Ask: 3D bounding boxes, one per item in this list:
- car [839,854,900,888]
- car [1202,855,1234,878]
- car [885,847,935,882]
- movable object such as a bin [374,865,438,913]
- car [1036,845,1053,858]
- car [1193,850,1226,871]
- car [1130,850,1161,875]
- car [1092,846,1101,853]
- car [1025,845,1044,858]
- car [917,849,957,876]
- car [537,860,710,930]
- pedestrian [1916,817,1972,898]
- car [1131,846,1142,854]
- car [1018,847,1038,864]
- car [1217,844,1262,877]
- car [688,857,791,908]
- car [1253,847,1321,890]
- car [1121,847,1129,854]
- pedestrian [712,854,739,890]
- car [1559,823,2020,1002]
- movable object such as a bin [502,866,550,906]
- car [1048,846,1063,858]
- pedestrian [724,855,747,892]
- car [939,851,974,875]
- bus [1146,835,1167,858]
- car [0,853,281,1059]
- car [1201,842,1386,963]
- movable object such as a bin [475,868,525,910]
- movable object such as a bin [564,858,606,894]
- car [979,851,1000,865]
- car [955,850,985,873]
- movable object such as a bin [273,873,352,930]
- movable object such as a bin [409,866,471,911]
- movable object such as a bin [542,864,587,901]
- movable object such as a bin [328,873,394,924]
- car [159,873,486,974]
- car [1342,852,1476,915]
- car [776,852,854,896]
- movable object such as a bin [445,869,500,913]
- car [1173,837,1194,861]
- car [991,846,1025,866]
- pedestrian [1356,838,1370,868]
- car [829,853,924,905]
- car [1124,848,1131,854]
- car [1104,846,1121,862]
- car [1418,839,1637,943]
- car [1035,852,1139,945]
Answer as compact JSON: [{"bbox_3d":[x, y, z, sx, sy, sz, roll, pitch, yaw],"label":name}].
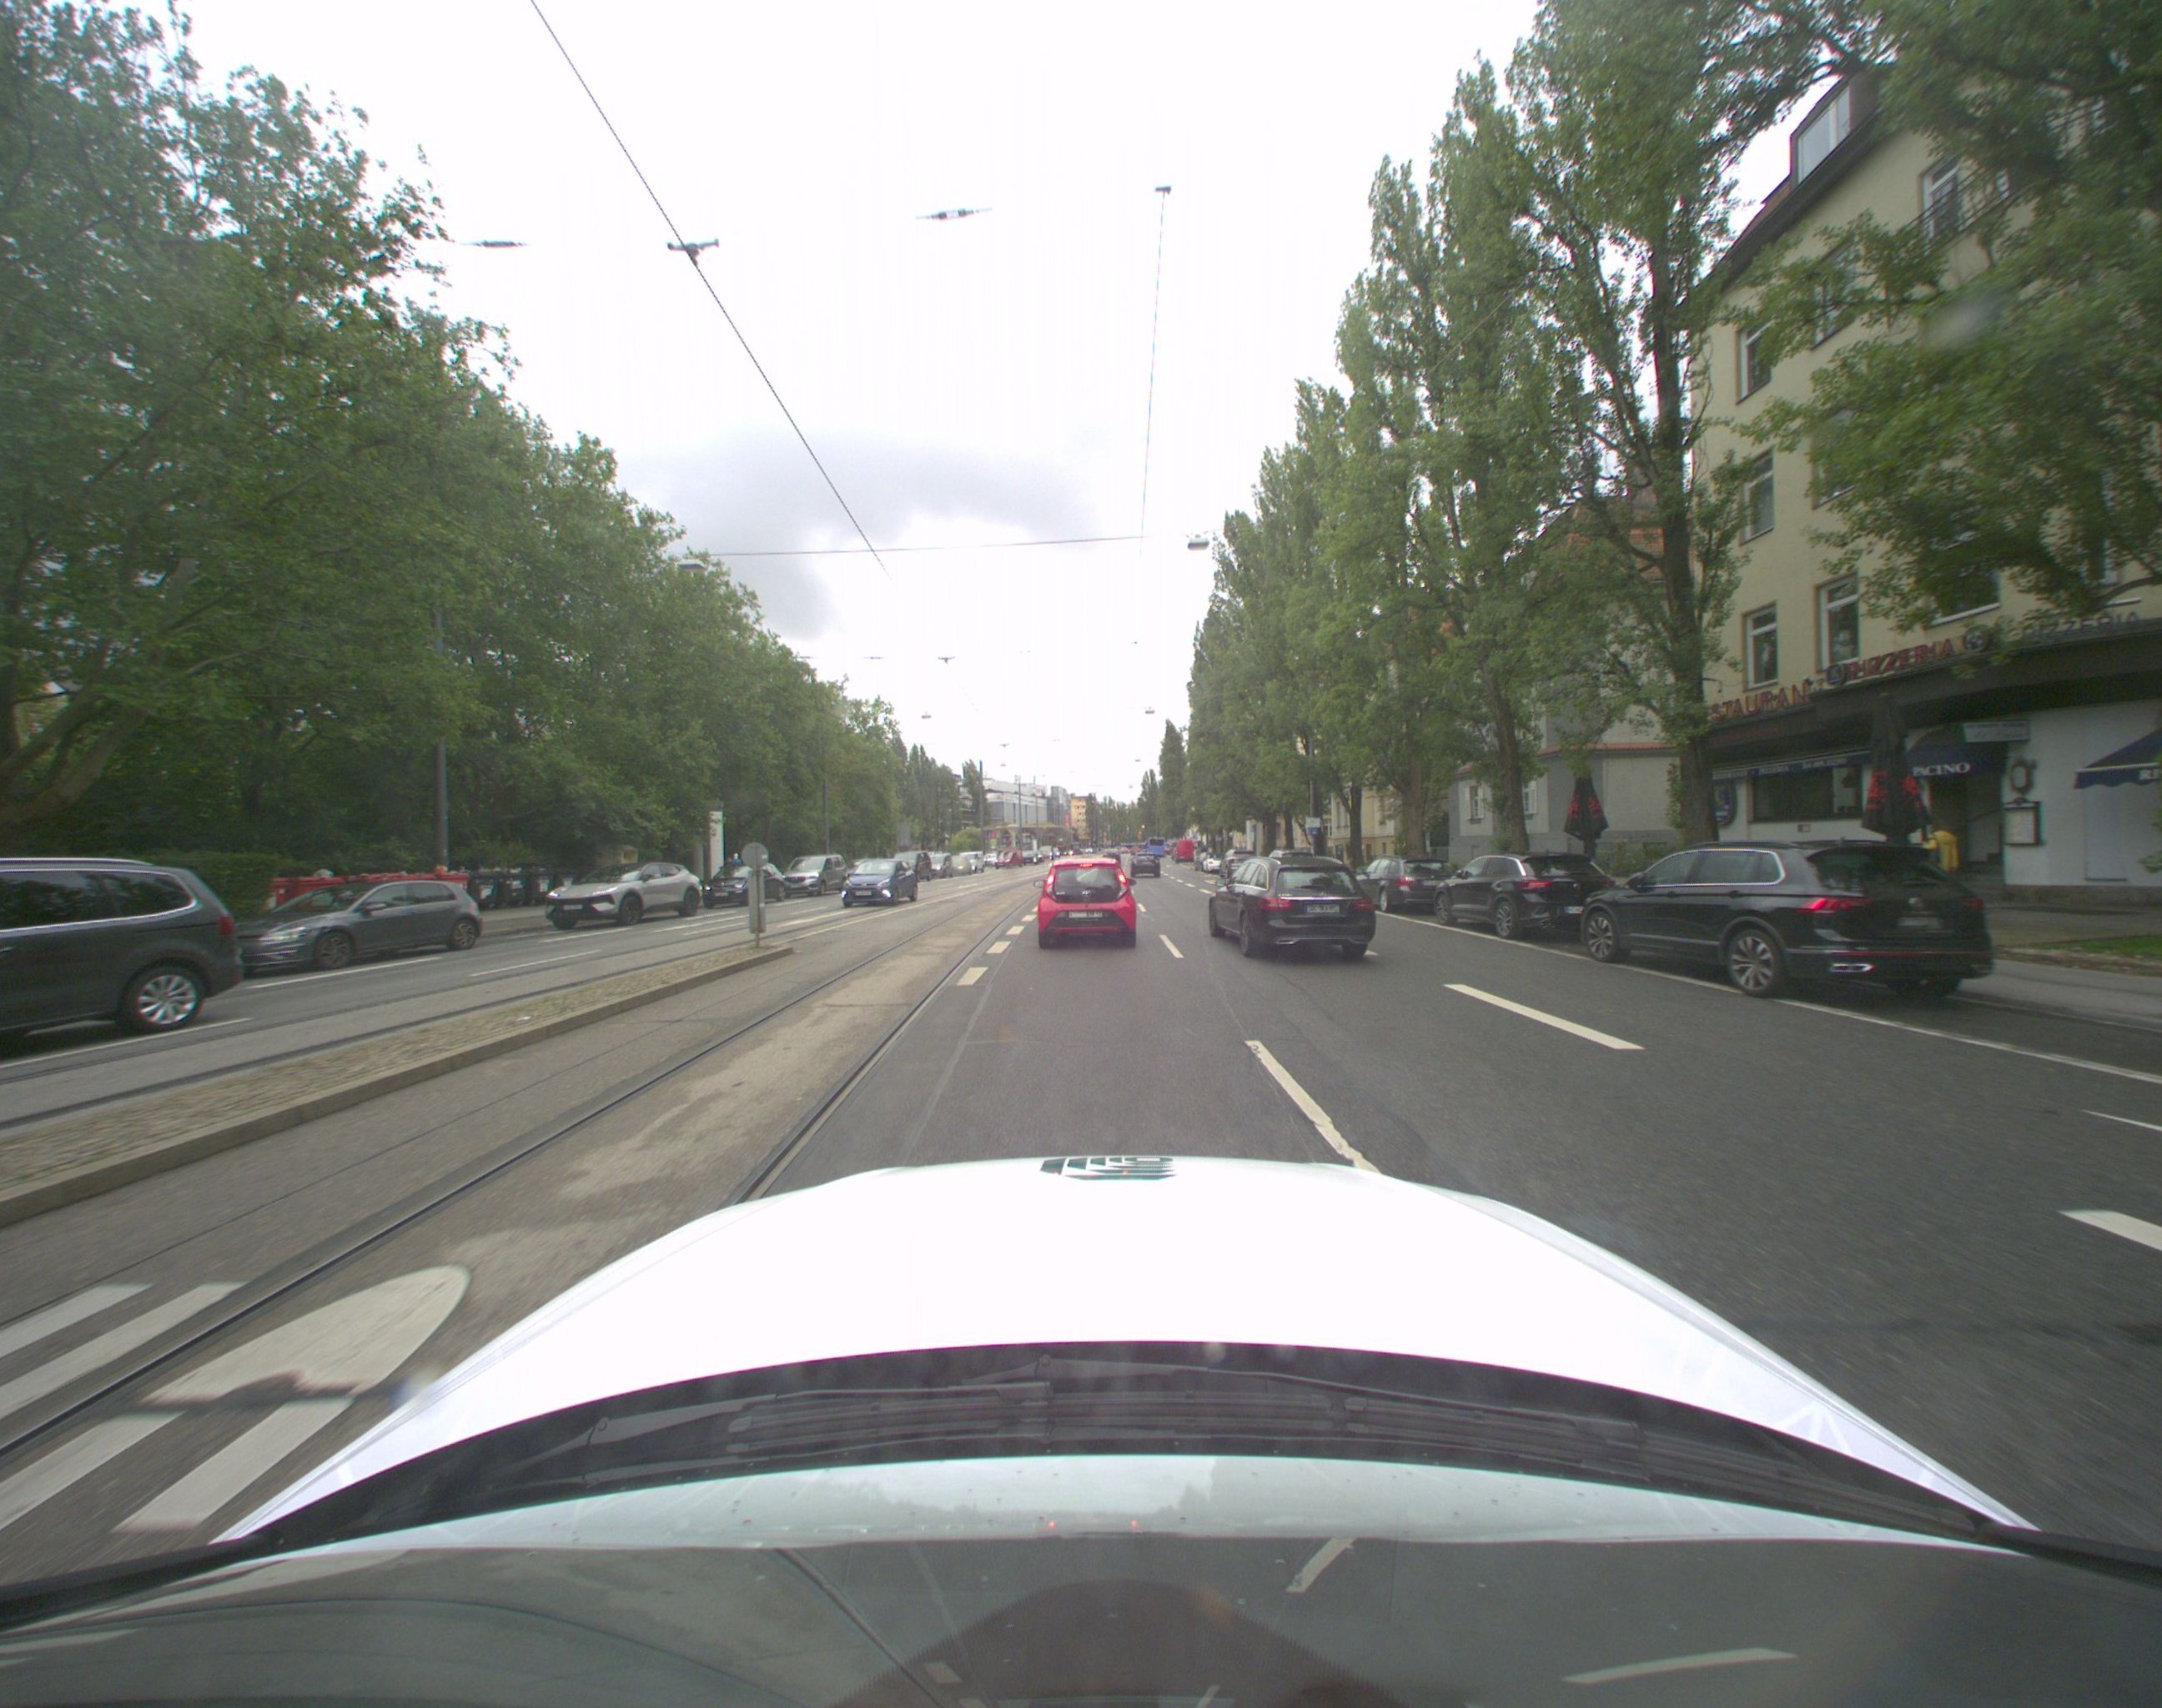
[{"bbox_3d":[-11.205,0.851,43.407,1.792,1.634,4.592,-2,0,3],"label":"car"},{"bbox_3d":[9.668,0.828,57.737,1.792,1.508,4.003,-1,0,3],"label":"car"},{"bbox_3d":[-10.742,0.615,51.458,1.792,1.991,5.043,-2,0,3],"label":"car"},{"bbox_3d":[-20.083,1.025,24.261,0.931,1.353,1.128,2,0,-2],"label":"movable object such as a bin"},{"bbox_3d":[-4.943,-0.401,111.403,1.792,1.665,4.523,-3,0,3],"label":"car"},{"bbox_3d":[9.909,0.455,63.013,1.794,1.508,4.449,-1,0,0],"label":"car"},{"bbox_3d":[4.008,0.515,51.020,1.773,1.486,4.003,-1,0,3],"label":"car"},{"bbox_3d":[3.557,-1.053,187.590,1.773,1.486,4.003,-1,0,3],"label":"car"},{"bbox_3d":[-5.742,-0.298,101.178,1.791,1.530,4.524,-3,0,4],"label":"car"},{"bbox_3d":[-10.396,0.578,59.114,1.792,1.788,4.522,-3,0,3],"label":"car"},{"bbox_3d":[-12.604,1.038,22.922,1.792,1.642,5.003,-2,0,3],"label":"car"},{"bbox_3d":[17.132,0.062,16.175,0.570,1.562,0.496,-1,2,2],"label":"pedestrian"},{"bbox_3d":[10.294,-0.770,151.091,1.773,1.486,4.003,-1,0,3],"label":"car"},{"bbox_3d":[-5.974,0.122,92.453,1.793,1.788,4.520,-3,0,1],"label":"car"},{"bbox_3d":[9.191,0.345,47.643,1.793,1.742,4.702,-2,0,1],"label":"car"},{"bbox_3d":[-12.712,1.003,30.644,1.792,1.667,4.358,-2,0,3],"label":"car"},{"bbox_3d":[8.548,0.554,34.181,1.793,1.612,4.549,-2,0,1],"label":"car"},{"bbox_3d":[11.589,-0.814,214.747,1.795,1.596,4.006,-1,-2,6],"label":"car"},{"bbox_3d":[-17.146,0.854,39.294,0.660,1.684,0.991,-1,2,11],"label":"pedestrian"},{"bbox_3d":[7.885,0.525,9.791,1.715,1.612,4.472,-2,0,1],"label":"car"},{"bbox_3d":[-19.881,1.138,29.192,0.931,1.353,1.158,1,0,-2],"label":"movable object such as a bin"},{"bbox_3d":[-3.915,-0.341,125.684,1.790,1.665,4.526,-3,0,5],"label":"car"},{"bbox_3d":[-16.589,0.925,39.109,0.660,1.789,0.821,-1,0,11],"label":"pedestrian"},{"bbox_3d":[-9.976,0.713,65.662,1.792,1.788,4.522,-3,0,3],"label":"car"},{"bbox_3d":[11.948,-1.263,130.071,2.894,3.395,10.815,-1,2,3],"label":"bus"},{"bbox_3d":[-9.831,0.872,6.529,1.815,1.683,4.894,-2,0,2],"label":"car"},{"bbox_3d":[3.183,0.612,13.228,1.857,1.549,4.705,-2,1,1],"label":"car"},{"bbox_3d":[-20.009,1.196,28.074,0.931,1.353,1.082,1,0,-2],"label":"movable object such as a bin"},{"bbox_3d":[-19.633,0.866,32.252,0.931,1.353,1.158,1,0,-2],"label":"movable object such as a bin"},{"bbox_3d":[-10.489,0.446,93.789,1.793,1.530,4.518,-3,0,0],"label":"car"},{"bbox_3d":[-9.813,0.643,72.347,1.792,1.861,4.633,-3,0,2],"label":"car"},{"bbox_3d":[-20.119,1.229,21.348,0.932,1.353,1.082,4,0,-2],"label":"movable object such as a bin"},{"bbox_3d":[-20.160,1.066,25.648,0.931,1.353,1.277,0,0,-2],"label":"movable object such as a bin"},{"bbox_3d":[-19.620,1.077,30.960,0.931,1.353,1.158,1,0,-2],"label":"movable object such as a bin"},{"bbox_3d":[-20.101,1.220,22.769,0.931,1.353,1.013,-1,0,-2],"label":"movable object such as a bin"},{"bbox_3d":[-13.062,1.107,14.460,1.815,1.381,4.101,-2,0,2],"label":"car"},{"bbox_3d":[8.339,0.678,21.171,1.793,1.398,4.383,-2,0,1],"label":"car"},{"bbox_3d":[-11.895,0.859,36.739,1.792,1.779,4.476,-2,0,3],"label":"car"},{"bbox_3d":[-20.123,1.201,26.936,0.931,1.353,1.082,3,0,-2],"label":"movable object such as a bin"},{"bbox_3d":[11.616,-0.594,92.697,1.985,2.573,4.684,-1,2,3],"label":"car"},{"bbox_3d":[-7.428,0.181,83.505,1.785,1.788,4.538,-3,0,16],"label":"car"},{"bbox_3d":[17.007,-0.080,49.078,0.589,1.738,0.825,-1,2,3],"label":"pedestrian"},{"bbox_3d":[-6.614,0.762,26.880,1.792,1.522,4.358,-2,0,3],"label":"car"},{"bbox_3d":[12.699,-0.831,221.718,1.795,1.596,4.006,-1,-2,6],"label":"car"},{"bbox_3d":[3.351,-0.027,85.812,1.729,1.549,4.579,-2,0,3],"label":"car"},{"bbox_3d":[8.065,0.578,15.236,1.793,1.612,4.307,-2,0,1],"label":"car"},{"bbox_3d":[0.104,0.695,14.553,1.623,1.440,3.376,0,0,0],"label":"car"}]
